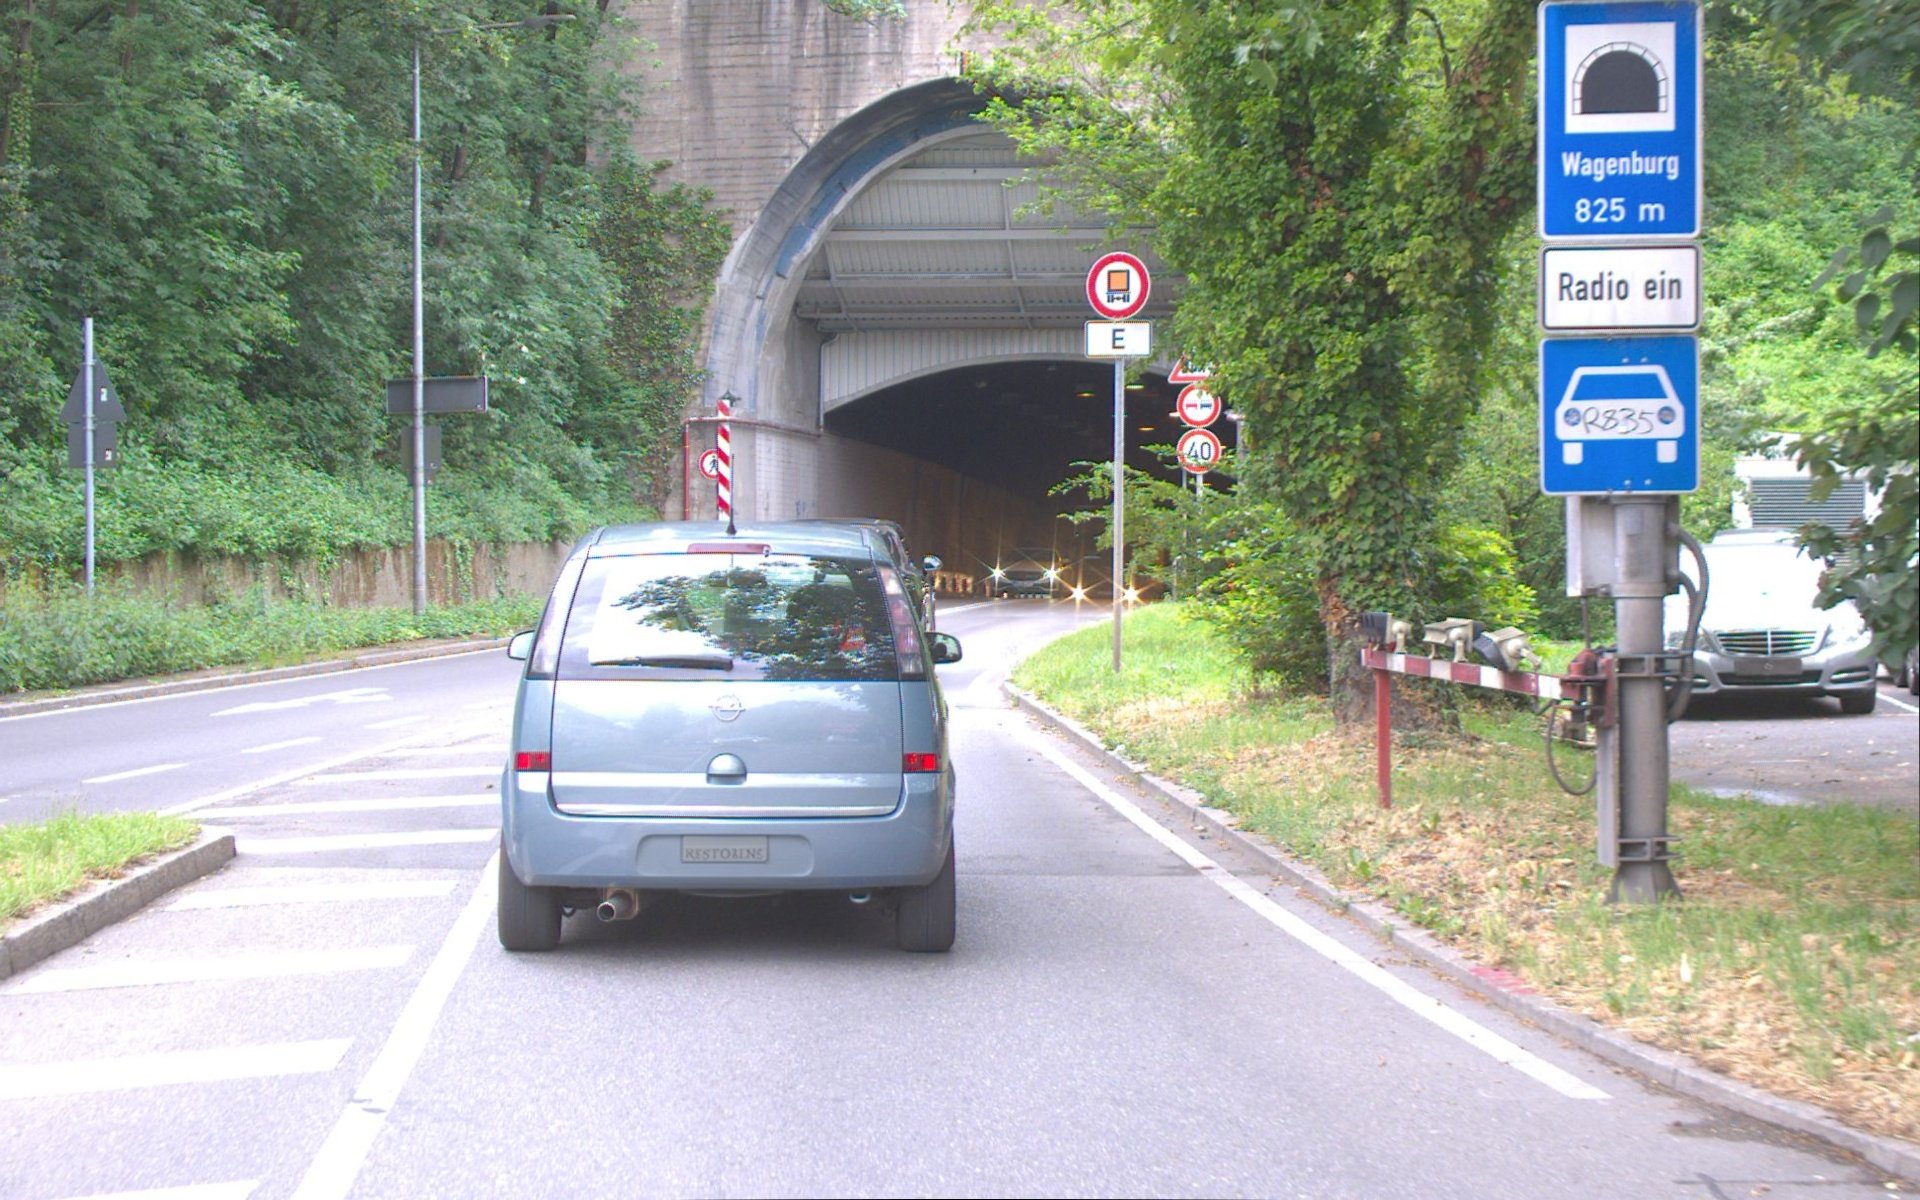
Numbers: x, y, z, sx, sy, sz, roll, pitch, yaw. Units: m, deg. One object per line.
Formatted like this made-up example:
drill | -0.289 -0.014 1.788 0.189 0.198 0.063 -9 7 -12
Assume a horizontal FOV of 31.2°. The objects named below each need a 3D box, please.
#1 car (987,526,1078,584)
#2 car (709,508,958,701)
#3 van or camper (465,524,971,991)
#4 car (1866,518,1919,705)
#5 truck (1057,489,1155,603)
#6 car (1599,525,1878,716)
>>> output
car | 1.976 -1.221 91.963 1.869 1.366 4.455 -1 2 8
car | -1.195 -0.010 34.438 1.994 1.647 4.000 -1 4 5
van or camper | -0.942 0.511 13.765 1.735 1.572 3.647 1 2 -3
car | 9.125 0.085 29.790 1.785 1.553 4.593 -1 2 6
truck | 4.931 -1.837 114.932 2.676 3.654 7.516 1 1 7
car | 6.673 0.111 29.928 1.785 1.437 5.062 -1 2 6
